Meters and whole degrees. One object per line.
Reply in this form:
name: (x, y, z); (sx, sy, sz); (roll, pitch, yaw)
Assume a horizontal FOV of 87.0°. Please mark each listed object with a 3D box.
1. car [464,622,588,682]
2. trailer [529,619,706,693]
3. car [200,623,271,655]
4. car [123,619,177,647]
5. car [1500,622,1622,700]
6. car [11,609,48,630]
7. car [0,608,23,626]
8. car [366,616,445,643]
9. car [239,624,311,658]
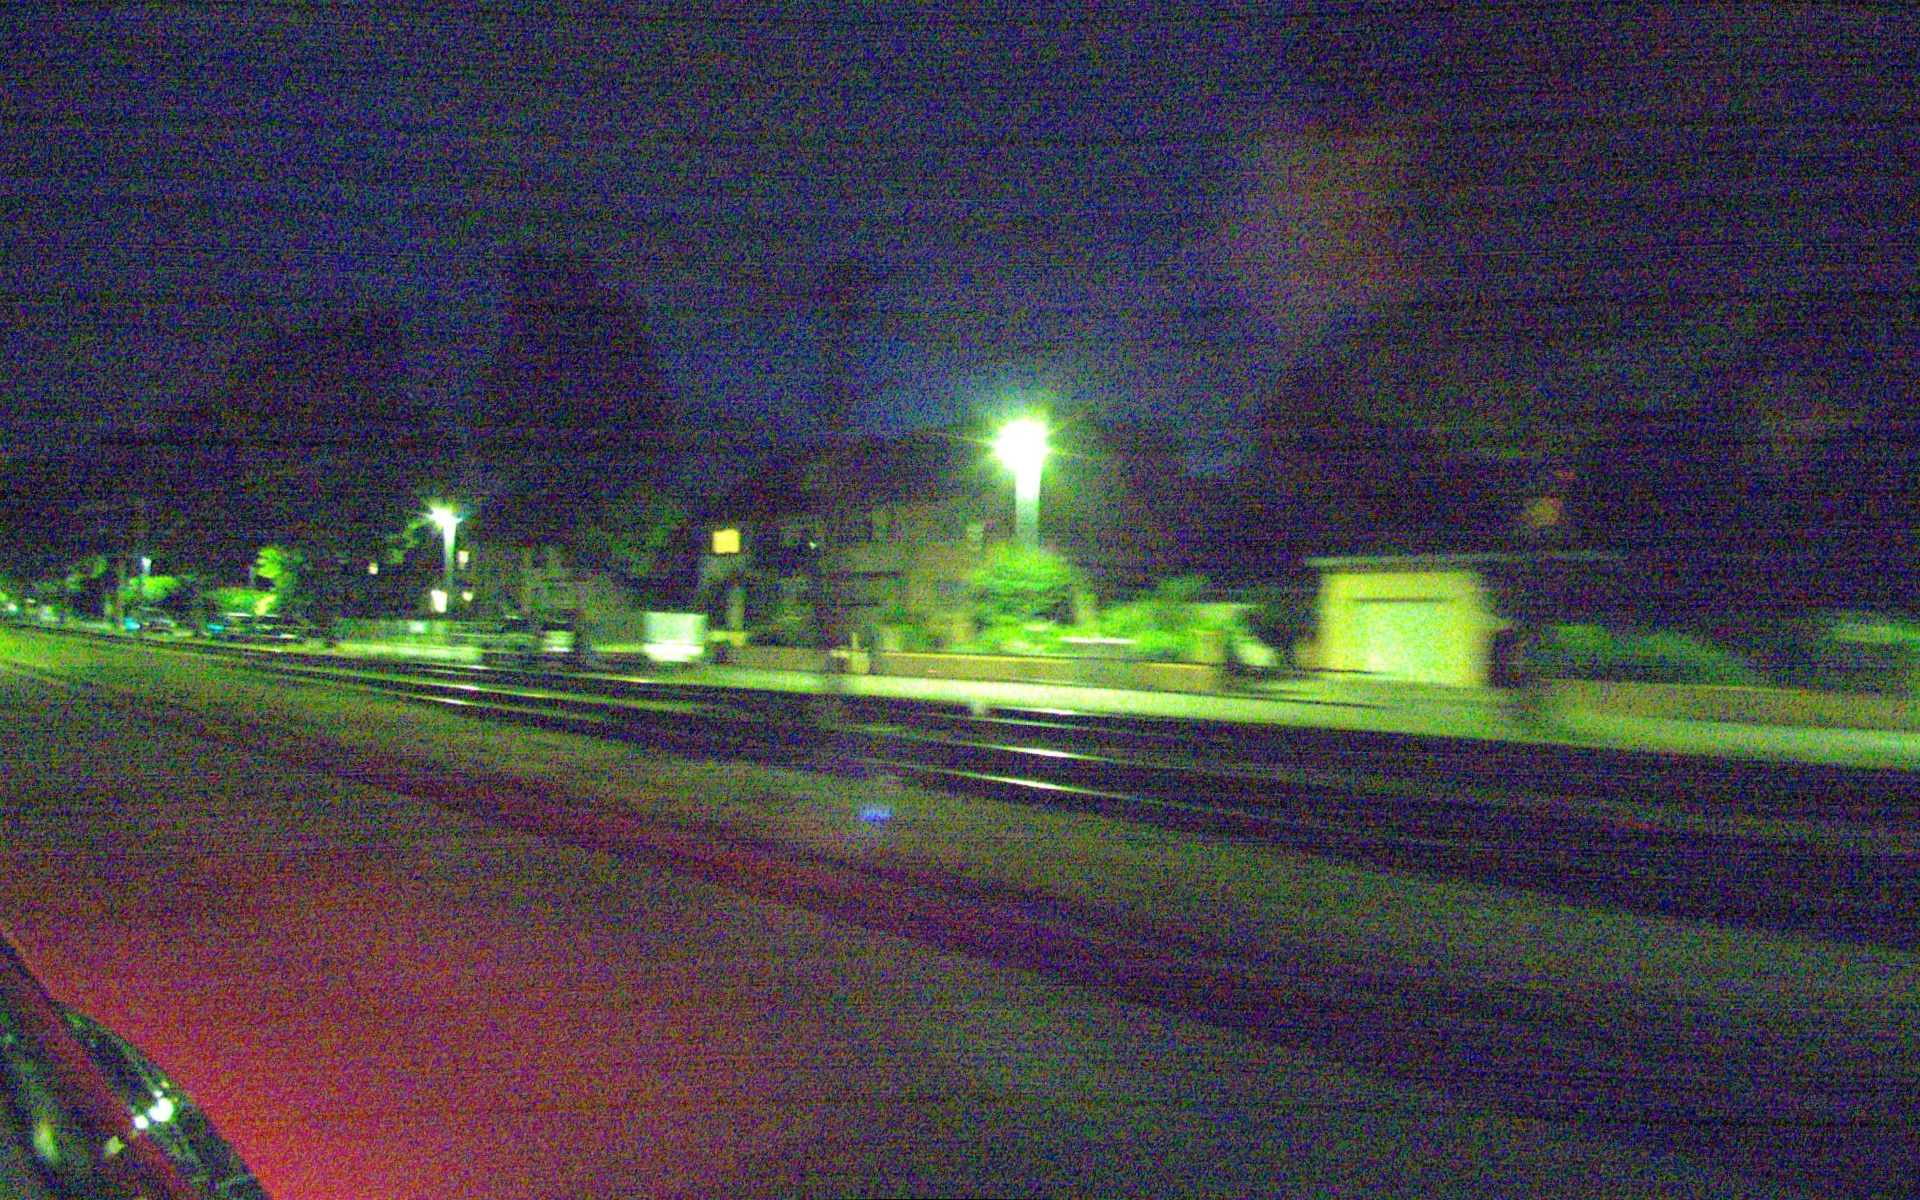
car: (-13.365, 1.572, 31.048); (4.534, 1.589, 1.698); (0, -5, 42)
trailer: (-9.467, 1.468, 27.663); (5.672, 1.794, 2.003); (-1, -4, 42)
car: (-36.958, 1.974, 51.575); (4.984, 1.375, 1.879); (0, -4, 43)
car: (-51.525, 2.078, 64.360); (4.690, 1.580, 1.746); (-1, -6, 41)
car: (14.499, 1.388, 24.313); (1.757, 1.621, 3.943); (0, 0, 43)
car: (-88.188, 1.846, 95.862); (4.720, 1.784, 2.096); (0, -4, 43)
car: (-98.344, 1.723, 104.343); (4.720, 1.784, 2.096); (0, -4, 43)
car: (-34.842, 1.834, 63.640); (1.887, 1.554, 3.949); (0, 0, 38)
car: (-32.177, 1.920, 47.512); (4.143, 1.375, 1.710); (0, -4, 41)
